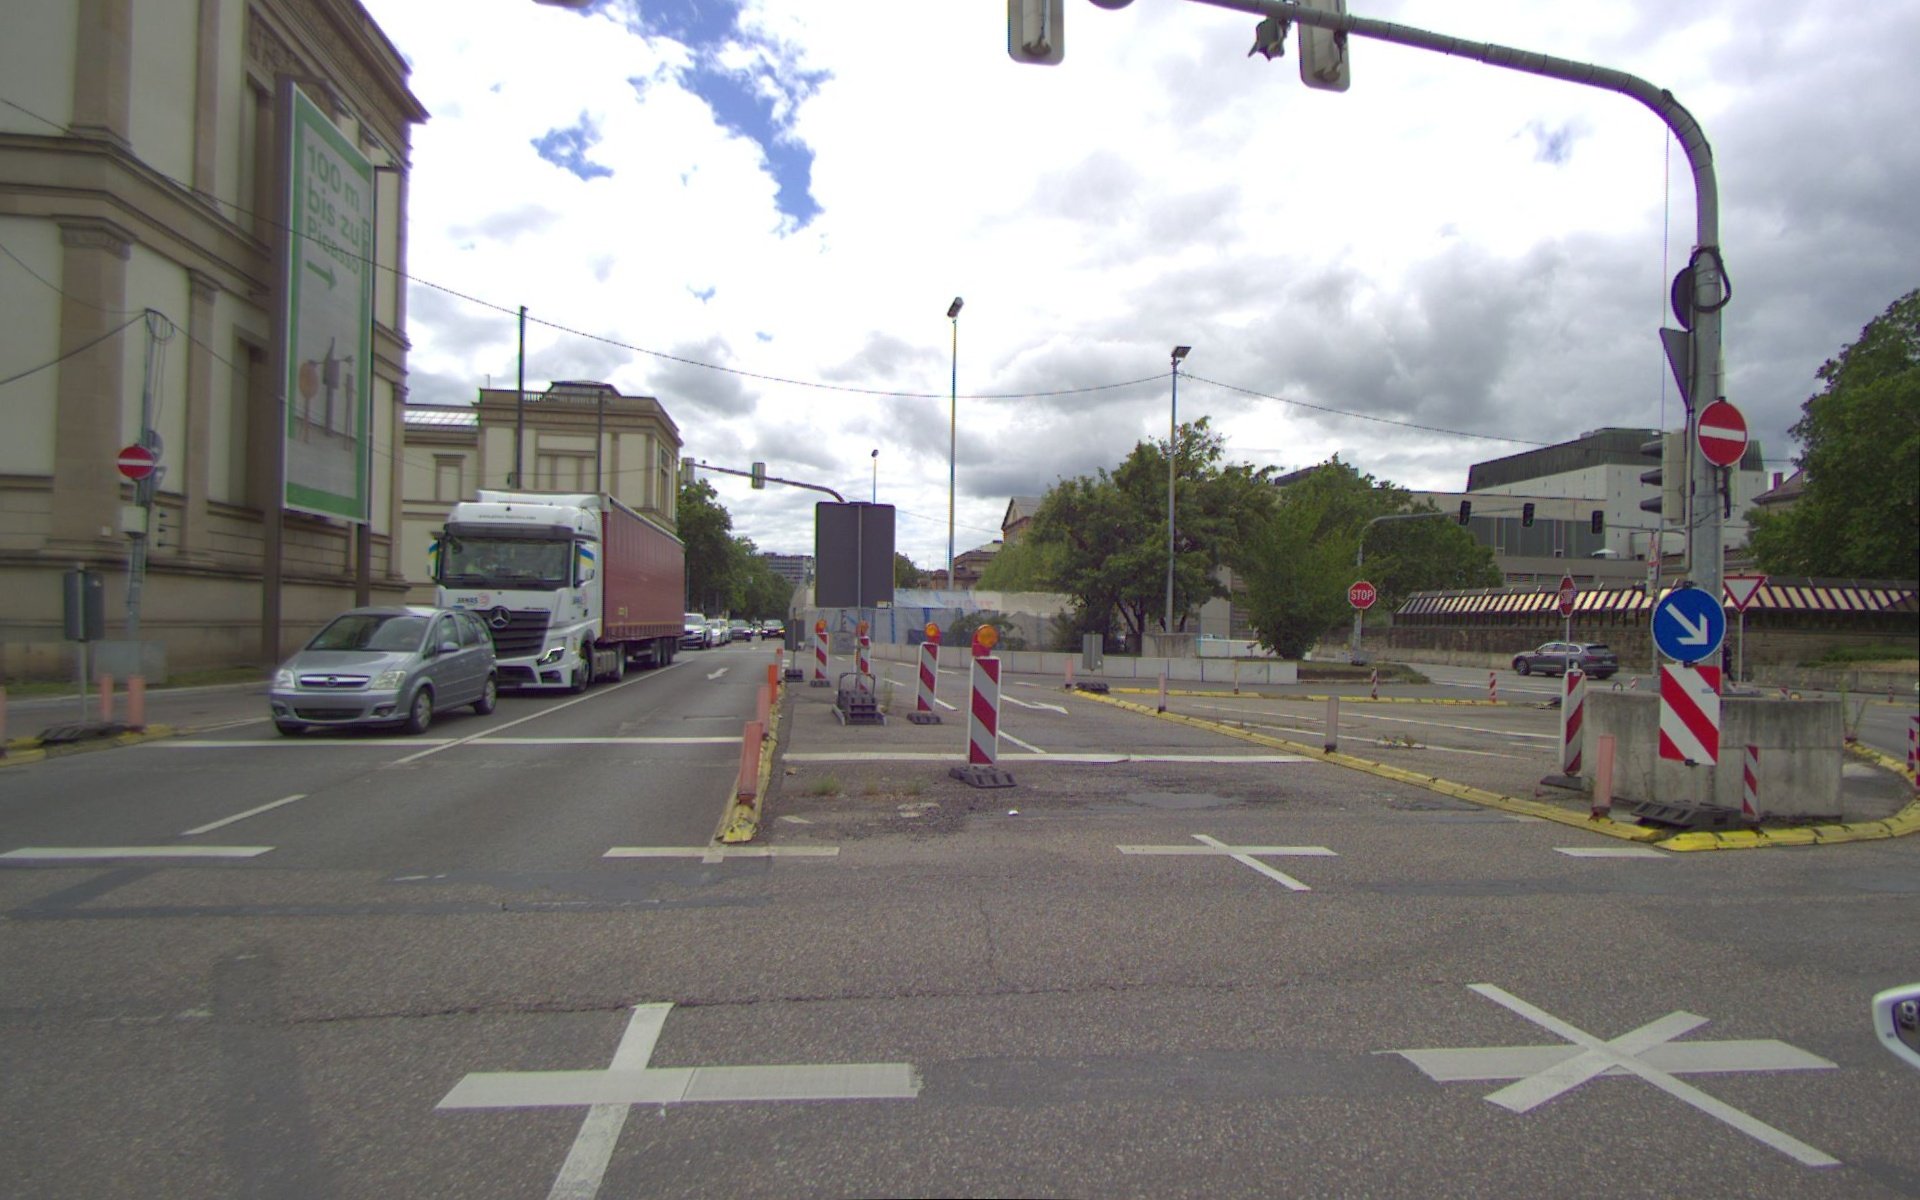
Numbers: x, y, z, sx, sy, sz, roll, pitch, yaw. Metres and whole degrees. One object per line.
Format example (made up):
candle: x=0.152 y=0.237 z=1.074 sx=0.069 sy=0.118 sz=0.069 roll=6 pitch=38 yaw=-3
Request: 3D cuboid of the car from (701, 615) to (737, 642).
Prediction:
car: x=-14.447 y=1.723 z=60.422 sx=1.582 sy=1.498 sz=3.639 roll=3 pitch=-2 yaw=-6

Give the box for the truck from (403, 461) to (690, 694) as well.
truck: x=-9.589 y=-0.219 z=26.238 sx=2.873 sy=4.137 sz=16.592 roll=1 pitch=-1 yaw=-8

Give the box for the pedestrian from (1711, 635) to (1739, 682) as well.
pedestrian: x=33.999 y=2.600 z=44.635 sx=0.618 sy=2.040 sz=0.841 roll=4 pitch=-2 yaw=-39

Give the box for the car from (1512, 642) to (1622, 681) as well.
car: x=28.470 y=2.845 z=47.283 sx=1.798 sy=1.588 sz=4.468 roll=2 pitch=-1 yaw=-13

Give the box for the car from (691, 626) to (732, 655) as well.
car: x=-13.062 y=2.112 z=52.927 sx=1.561 sy=1.445 sz=3.639 roll=3 pitch=-2 yaw=-6

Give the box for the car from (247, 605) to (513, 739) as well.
car: x=-7.742 y=0.871 z=13.914 sx=1.739 sy=1.524 sz=4.125 roll=2 pitch=0 yaw=-8

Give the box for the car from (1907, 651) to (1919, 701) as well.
car: x=34.319 y=2.671 z=33.122 sx=1.742 sy=1.589 sz=4.280 roll=-1 pitch=3 yaw=-40

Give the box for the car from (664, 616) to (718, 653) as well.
car: x=-12.332 y=1.586 z=46.258 sx=1.684 sy=1.557 sz=4.137 roll=3 pitch=-2 yaw=-6

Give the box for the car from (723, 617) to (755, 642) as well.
car: x=-14.769 y=1.969 z=67.268 sx=1.582 sy=1.498 sz=3.639 roll=3 pitch=-2 yaw=-6

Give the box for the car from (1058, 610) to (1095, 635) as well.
car: x=11.645 y=2.281 z=100.847 sx=2.542 sy=2.405 sz=5.522 roll=1 pitch=-2 yaw=-6
